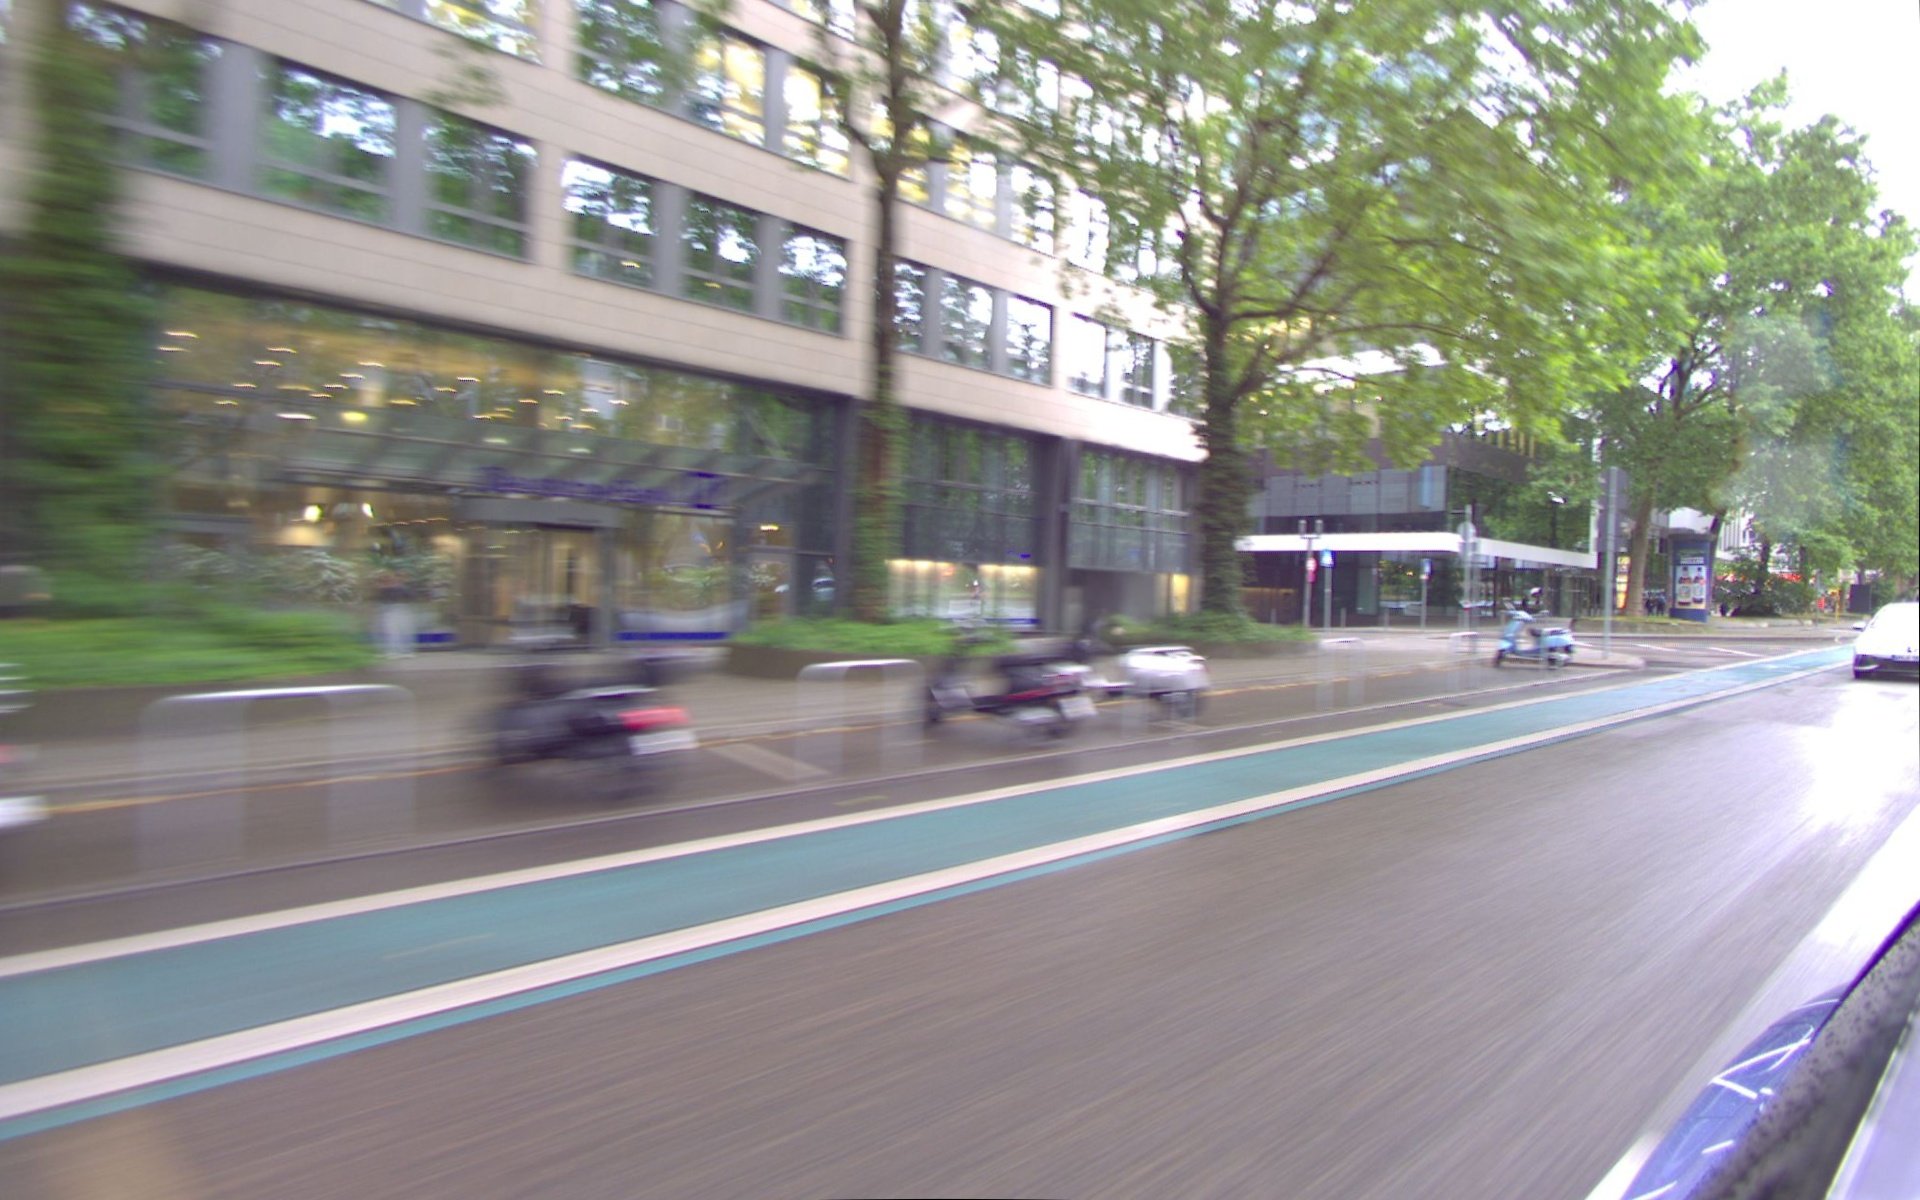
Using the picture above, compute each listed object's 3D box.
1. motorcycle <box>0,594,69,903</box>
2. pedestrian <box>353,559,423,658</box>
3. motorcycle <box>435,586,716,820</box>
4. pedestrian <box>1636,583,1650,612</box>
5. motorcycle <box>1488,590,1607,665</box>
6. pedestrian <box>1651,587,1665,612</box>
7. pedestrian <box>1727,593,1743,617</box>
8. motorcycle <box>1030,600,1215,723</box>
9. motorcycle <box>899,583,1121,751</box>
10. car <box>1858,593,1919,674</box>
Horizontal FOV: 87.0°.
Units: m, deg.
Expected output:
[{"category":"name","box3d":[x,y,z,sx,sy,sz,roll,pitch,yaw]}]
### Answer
[{"category":"motorcycle","box3d":[-5.314,0.650,4.991,1.944,1.391,0.722,3,1,28]},{"category":"pedestrian","box3d":[-10.232,0.148,18.121,0.813,1.714,0.729,2,1,2]},{"category":"motorcycle","box3d":[-2.736,0.644,7.152,1.944,1.391,0.722,3,1,28]},{"category":"pedestrian","box3d":[46.251,-0.175,68.542,0.692,1.881,0.523,-1,4,-41]},{"category":"motorcycle","box3d":[11.899,0.545,20.523,1.908,1.383,0.685,2,3,0]},{"category":"pedestrian","box3d":[46.816,-0.025,67.864,0.707,1.645,0.527,-1,4,-41]},{"category":"pedestrian","box3d":[49.924,0.327,65.222,0.987,1.524,0.588,0,1,-40]},{"category":"motorcycle","box3d":[1.901,0.684,11.827,2.030,1.227,0.682,3,3,14]},{"category":"motorcycle","box3d":[0.473,0.611,10.043,2.042,1.446,0.722,3,1,28]},{"category":"car","box3d":[18.931,0.605,19.613,3.727,1.490,1.794,0,0,-41]}]
